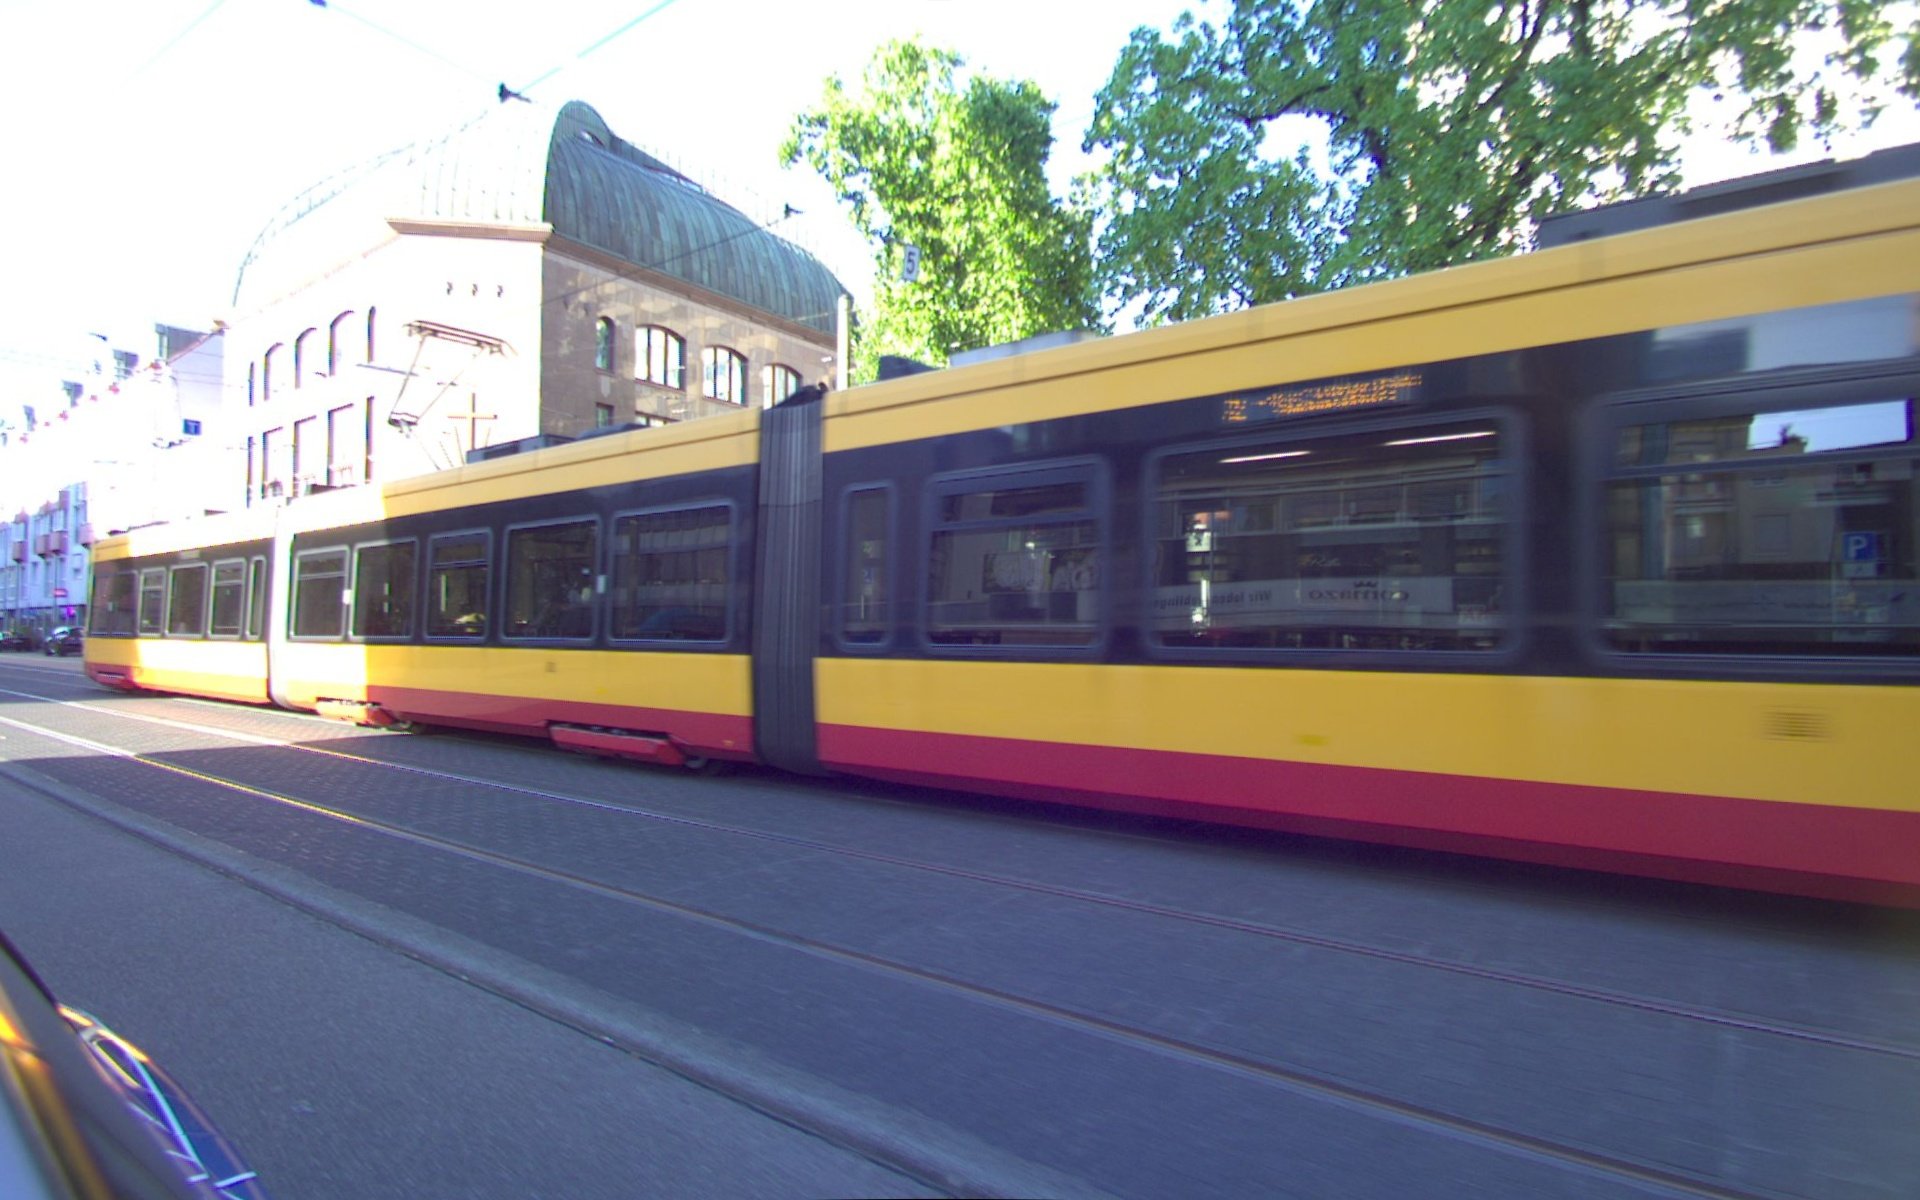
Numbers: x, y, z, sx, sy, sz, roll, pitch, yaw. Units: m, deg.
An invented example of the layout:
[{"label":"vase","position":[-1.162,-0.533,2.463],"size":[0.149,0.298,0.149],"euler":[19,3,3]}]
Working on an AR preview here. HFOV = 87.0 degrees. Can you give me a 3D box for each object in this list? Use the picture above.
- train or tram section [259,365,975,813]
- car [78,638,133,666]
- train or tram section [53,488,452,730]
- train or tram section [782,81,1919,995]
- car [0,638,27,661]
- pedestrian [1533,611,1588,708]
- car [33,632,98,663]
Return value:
[{"label":"train or tram section","position":[-5.054,0.042,12.536],"size":[11.109,3.578,2.650],"euler":[-1,-3,38]},{"label":"car","position":[-46.621,2.824,55.213],"size":[3.678,1.411,1.626],"euler":[-2,-2,39]},{"label":"train or tram section","position":[-14.382,0.280,19.833],"size":[12.448,3.578,2.732],"euler":[-1,-3,38]},{"label":"train or tram section","position":[4.506,-0.210,5.036],"size":[12.822,3.578,2.650],"euler":[-1,-3,38]},{"label":"car","position":[-66.977,3.429,70.801],"size":[4.554,1.520,1.807],"euler":[-2,-2,38]},{"label":"pedestrian","position":[12.024,1.177,20.271],"size":[0.897,1.892,0.909],"euler":[-1,-3,31]},{"label":"car","position":[-52.056,2.722,58.869],"size":[4.552,1.713,1.941],"euler":[-2,-2,36]}]
